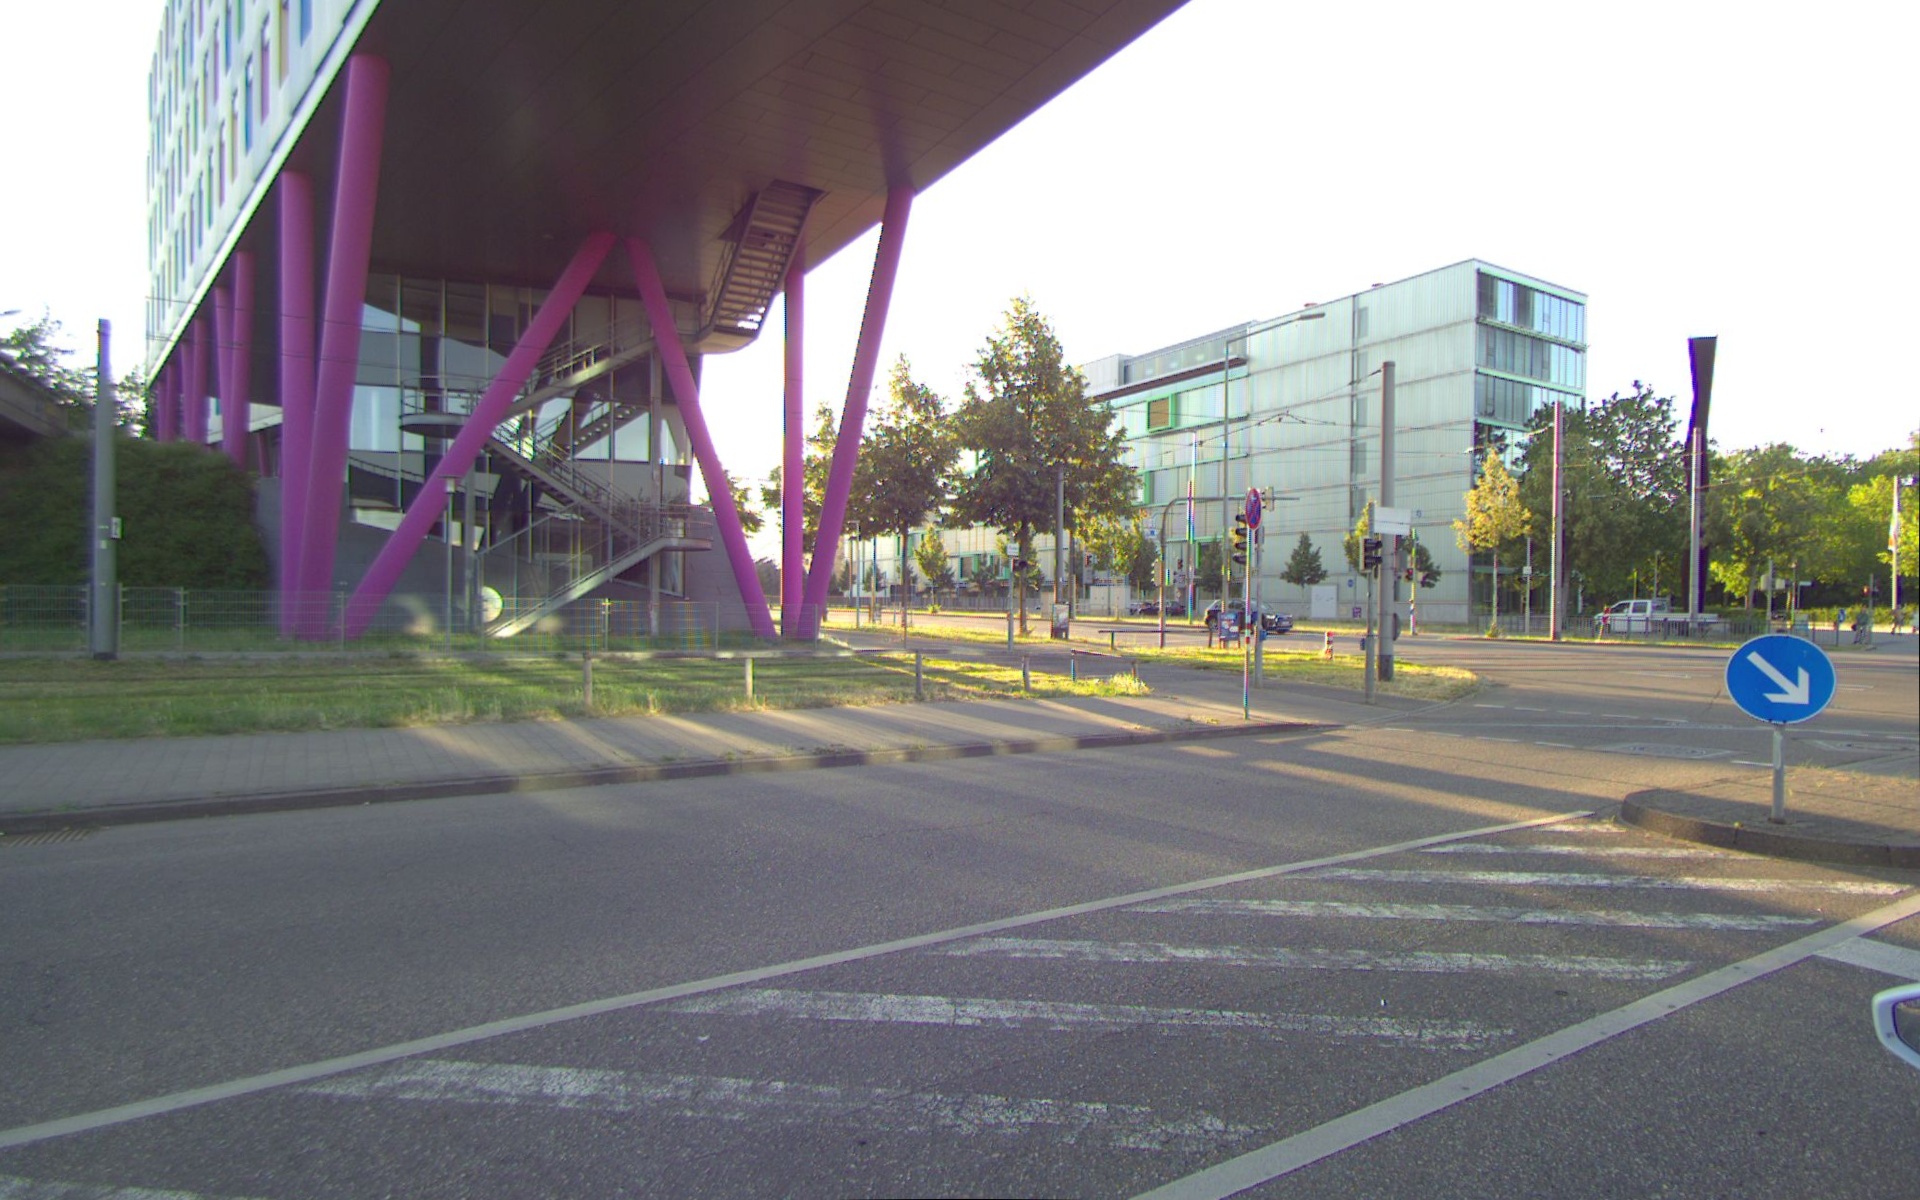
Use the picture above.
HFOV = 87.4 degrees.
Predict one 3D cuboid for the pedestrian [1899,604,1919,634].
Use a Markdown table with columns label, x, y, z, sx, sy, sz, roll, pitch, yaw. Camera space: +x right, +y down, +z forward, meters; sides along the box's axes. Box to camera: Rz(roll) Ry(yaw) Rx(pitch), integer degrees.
| label | x | y | z | sx | sy | sz | roll | pitch | yaw |
| --- | --- | --- | --- | --- | --- | --- | --- | --- | --- |
| pedestrian | 57.310 | 1.133 | 60.435 | 0.813 | 1.767 | 0.863 | 1 | 0 | 11 |

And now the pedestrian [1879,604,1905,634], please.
| label | x | y | z | sx | sy | sz | roll | pitch | yaw |
| --- | --- | --- | --- | --- | --- | --- | --- | --- | --- |
| pedestrian | 56.272 | 1.158 | 60.653 | 0.814 | 1.767 | 0.863 | 1 | 0 | 18 |

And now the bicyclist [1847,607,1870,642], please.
| label | x | y | z | sx | sy | sz | roll | pitch | yaw |
| --- | --- | --- | --- | --- | --- | --- | --- | --- | --- |
| bicyclist | 45.082 | 1.230 | 50.410 | 0.741 | 1.732 | 0.916 | 1 | 0 | 38 |

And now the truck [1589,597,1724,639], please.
| label | x | y | z | sx | sy | sz | roll | pitch | yaw |
| --- | --- | --- | --- | --- | --- | --- | --- | --- | --- |
| truck | 36.576 | 0.921 | 52.941 | 2.044 | 2.082 | 5.528 | 1 | 0 | -31 |

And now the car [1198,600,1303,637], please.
| label | x | y | z | sx | sy | sz | roll | pitch | yaw |
| --- | --- | --- | --- | --- | --- | --- | --- | --- | --- |
| car | 13.296 | 0.805 | 46.200 | 1.968 | 1.577 | 4.448 | 1 | 0 | -34 |

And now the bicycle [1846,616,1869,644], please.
| label | x | y | z | sx | sy | sz | roll | pitch | yaw |
| --- | --- | --- | --- | --- | --- | --- | --- | --- | --- |
| bicycle | 45.187 | 1.498 | 50.572 | 0.721 | 1.359 | 2.678 | 1 | 0 | 39 |

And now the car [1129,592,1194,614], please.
| label | x | y | z | sx | sy | sz | roll | pitch | yaw |
| --- | --- | --- | --- | --- | --- | --- | --- | --- | --- |
| car | 15.341 | 0.250 | 76.709 | 1.977 | 1.572 | 5.200 | 2 | -1 | -30 |
